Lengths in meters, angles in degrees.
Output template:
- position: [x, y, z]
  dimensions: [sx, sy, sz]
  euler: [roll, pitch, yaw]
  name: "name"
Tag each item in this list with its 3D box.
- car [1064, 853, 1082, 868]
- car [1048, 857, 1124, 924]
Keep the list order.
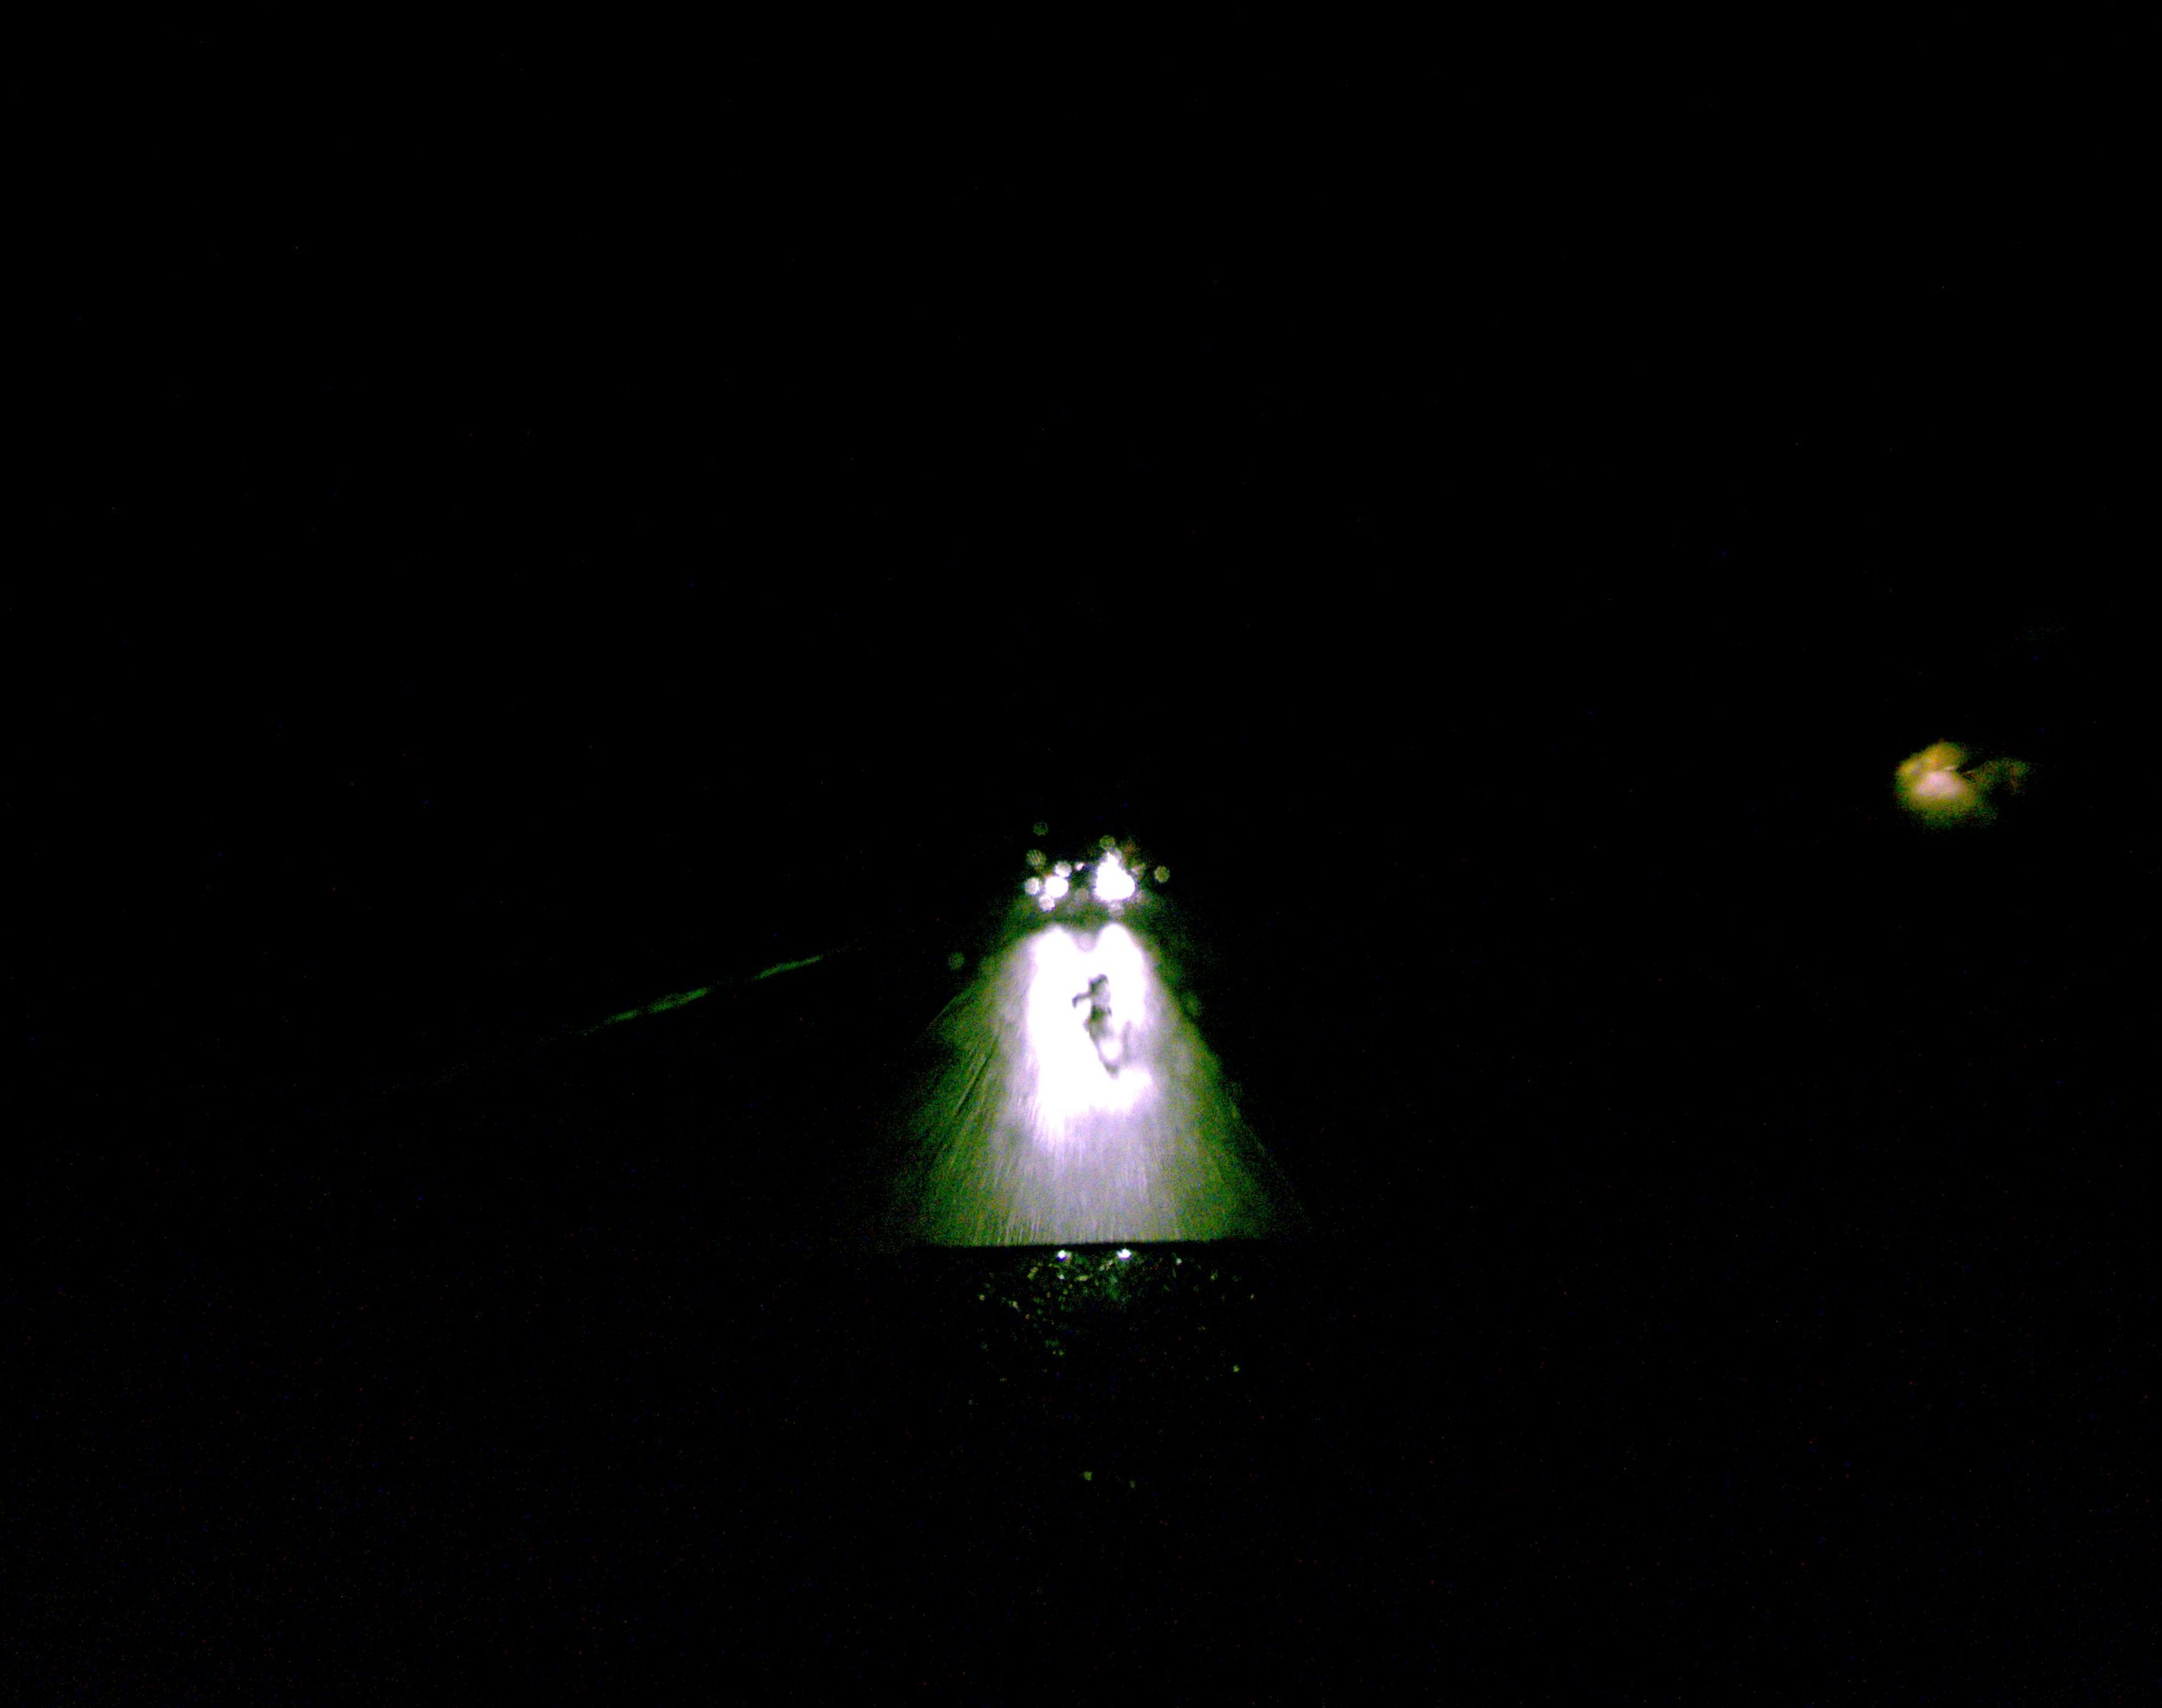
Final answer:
- position: [-0.886, 0.757, 87.325]
  dimensions: [1.846, 1.565, 4.000]
  euler: [-2, 0, 1]
  name: "car"
- position: [0.141, 0.905, 20.874]
  dimensions: [1.846, 1.565, 4.000]
  euler: [-2, 0, 1]
  name: "car"
